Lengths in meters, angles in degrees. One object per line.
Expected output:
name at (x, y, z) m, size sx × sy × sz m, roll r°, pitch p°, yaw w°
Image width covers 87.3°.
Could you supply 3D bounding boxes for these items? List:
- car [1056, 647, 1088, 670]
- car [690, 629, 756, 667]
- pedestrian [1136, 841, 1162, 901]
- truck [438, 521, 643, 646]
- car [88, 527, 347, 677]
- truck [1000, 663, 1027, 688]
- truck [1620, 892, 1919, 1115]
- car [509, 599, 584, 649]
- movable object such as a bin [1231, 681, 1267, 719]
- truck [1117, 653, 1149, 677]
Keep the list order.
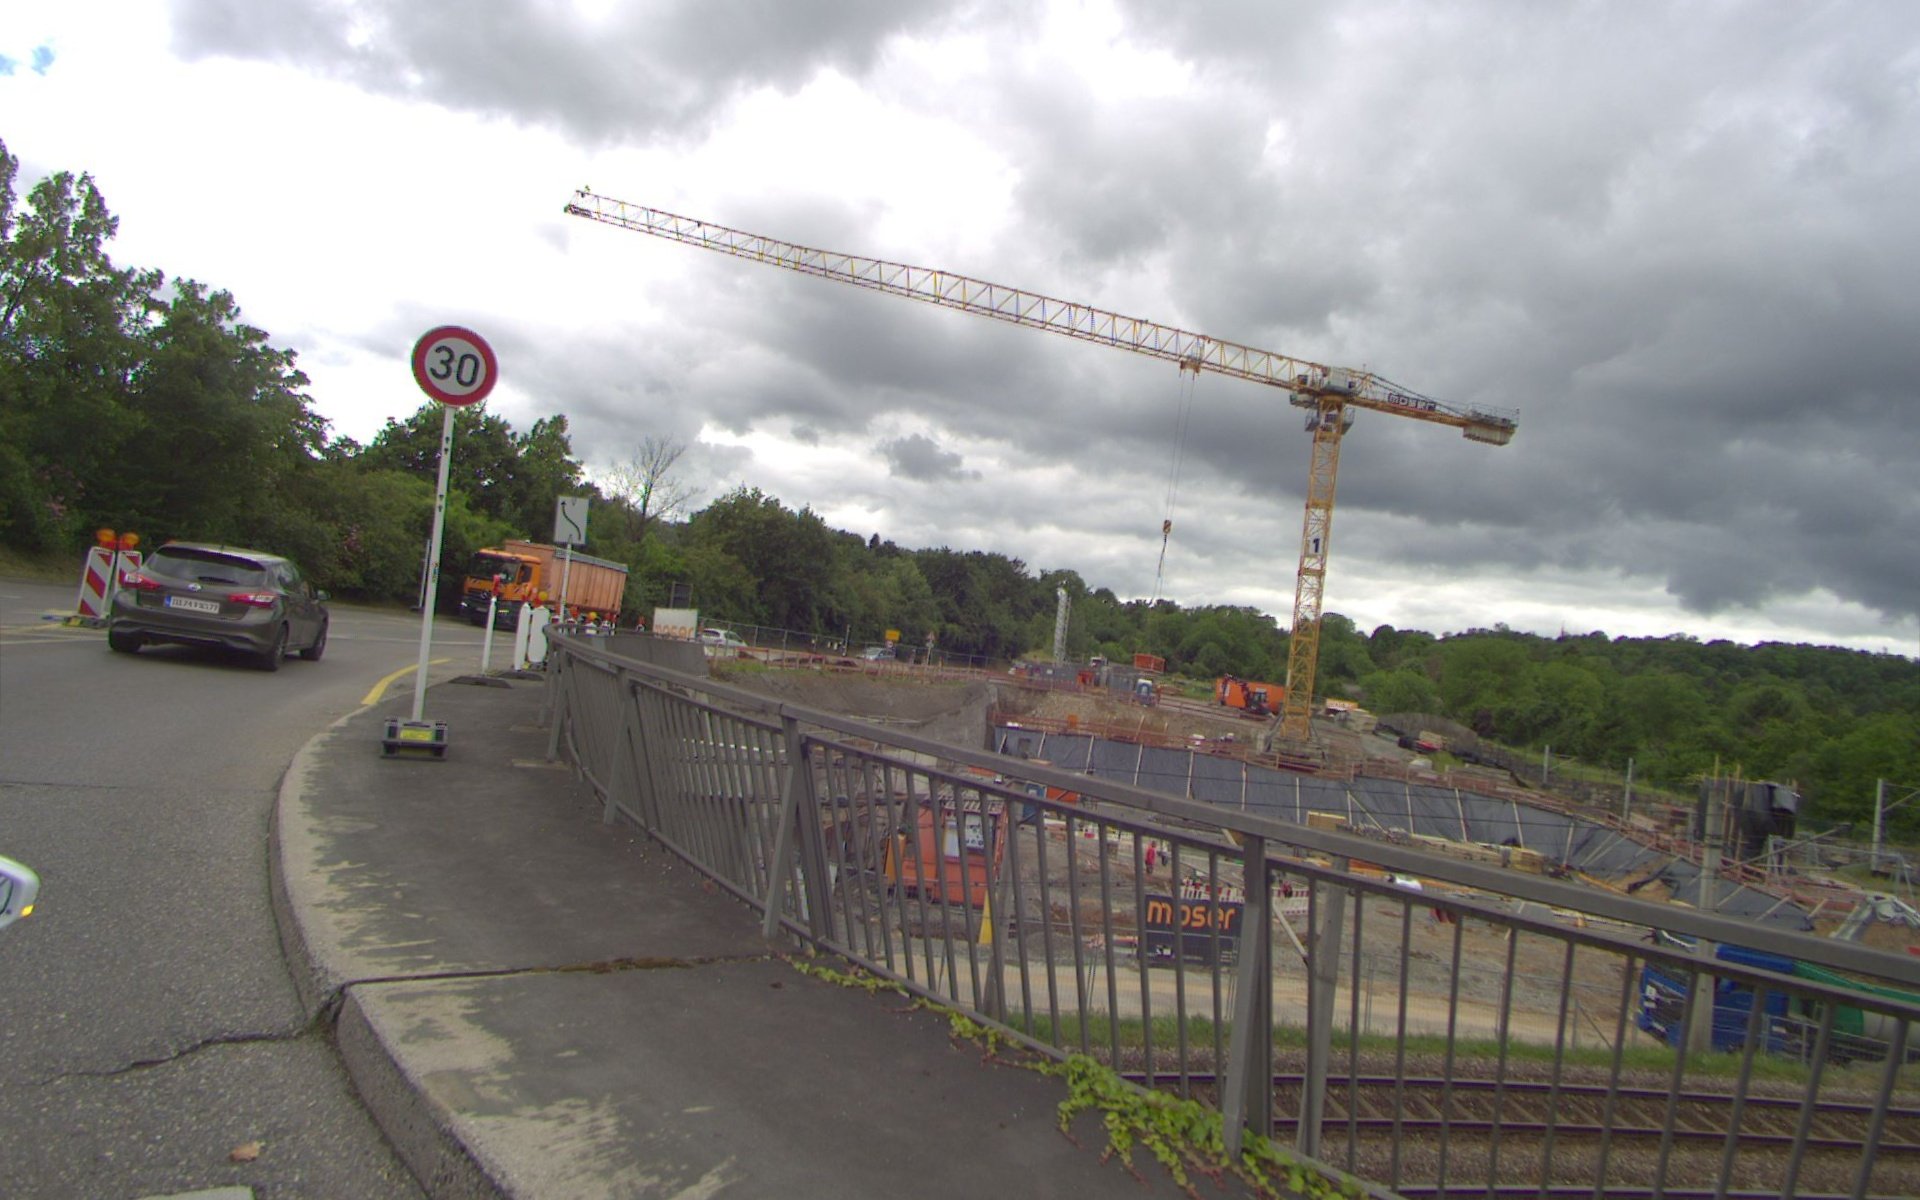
car at (12.116, 6.363, 108.502) m, size 1.965 × 2.035 × 4.003 m, roll 5°, pitch -5°, yaw 26°
car at (-13.199, 2.725, 56.266) m, size 1.685 × 1.692 × 4.009 m, roll 6°, pitch -4°, yaw 16°
pedestrian at (7.189, 10.299, 38.289) m, size 0.690 × 2.032 × 0.806 m, roll 6°, pitch -7°, yaw 4°
truck at (-18.597, -0.488, 45.739) m, size 3.061 × 4.265 × 9.814 m, roll 7°, pitch -4°, yaw 12°
car at (-10.091, 0.053, 14.054) m, size 1.780 × 1.569 × 3.983 m, roll 9°, pitch -3°, yaw -22°
truck at (5.555, 7.799, 103.920) m, size 1.708 × 2.032 × 3.236 m, roll 6°, pitch -7°, yaw 21°
truck at (24.224, 10.923, 26.376) m, size 11.406 × 3.933 × 2.852 m, roll 9°, pitch -3°, yaw 3°
car at (-15.904, 0.941, 38.866) m, size 1.796 × 1.568 × 3.784 m, roll 9°, pitch -3°, yaw -11°
movable object such as a bin at (26.755, 9.289, 93.115) m, size 2.750 × 3.110 × 1.843 m, roll 5°, pitch -4°, yaw 23°
truck at (27.627, 10.431, 160.621) m, size 2.778 × 3.373 × 8.383 m, roll 5°, pitch -3°, yaw 24°
